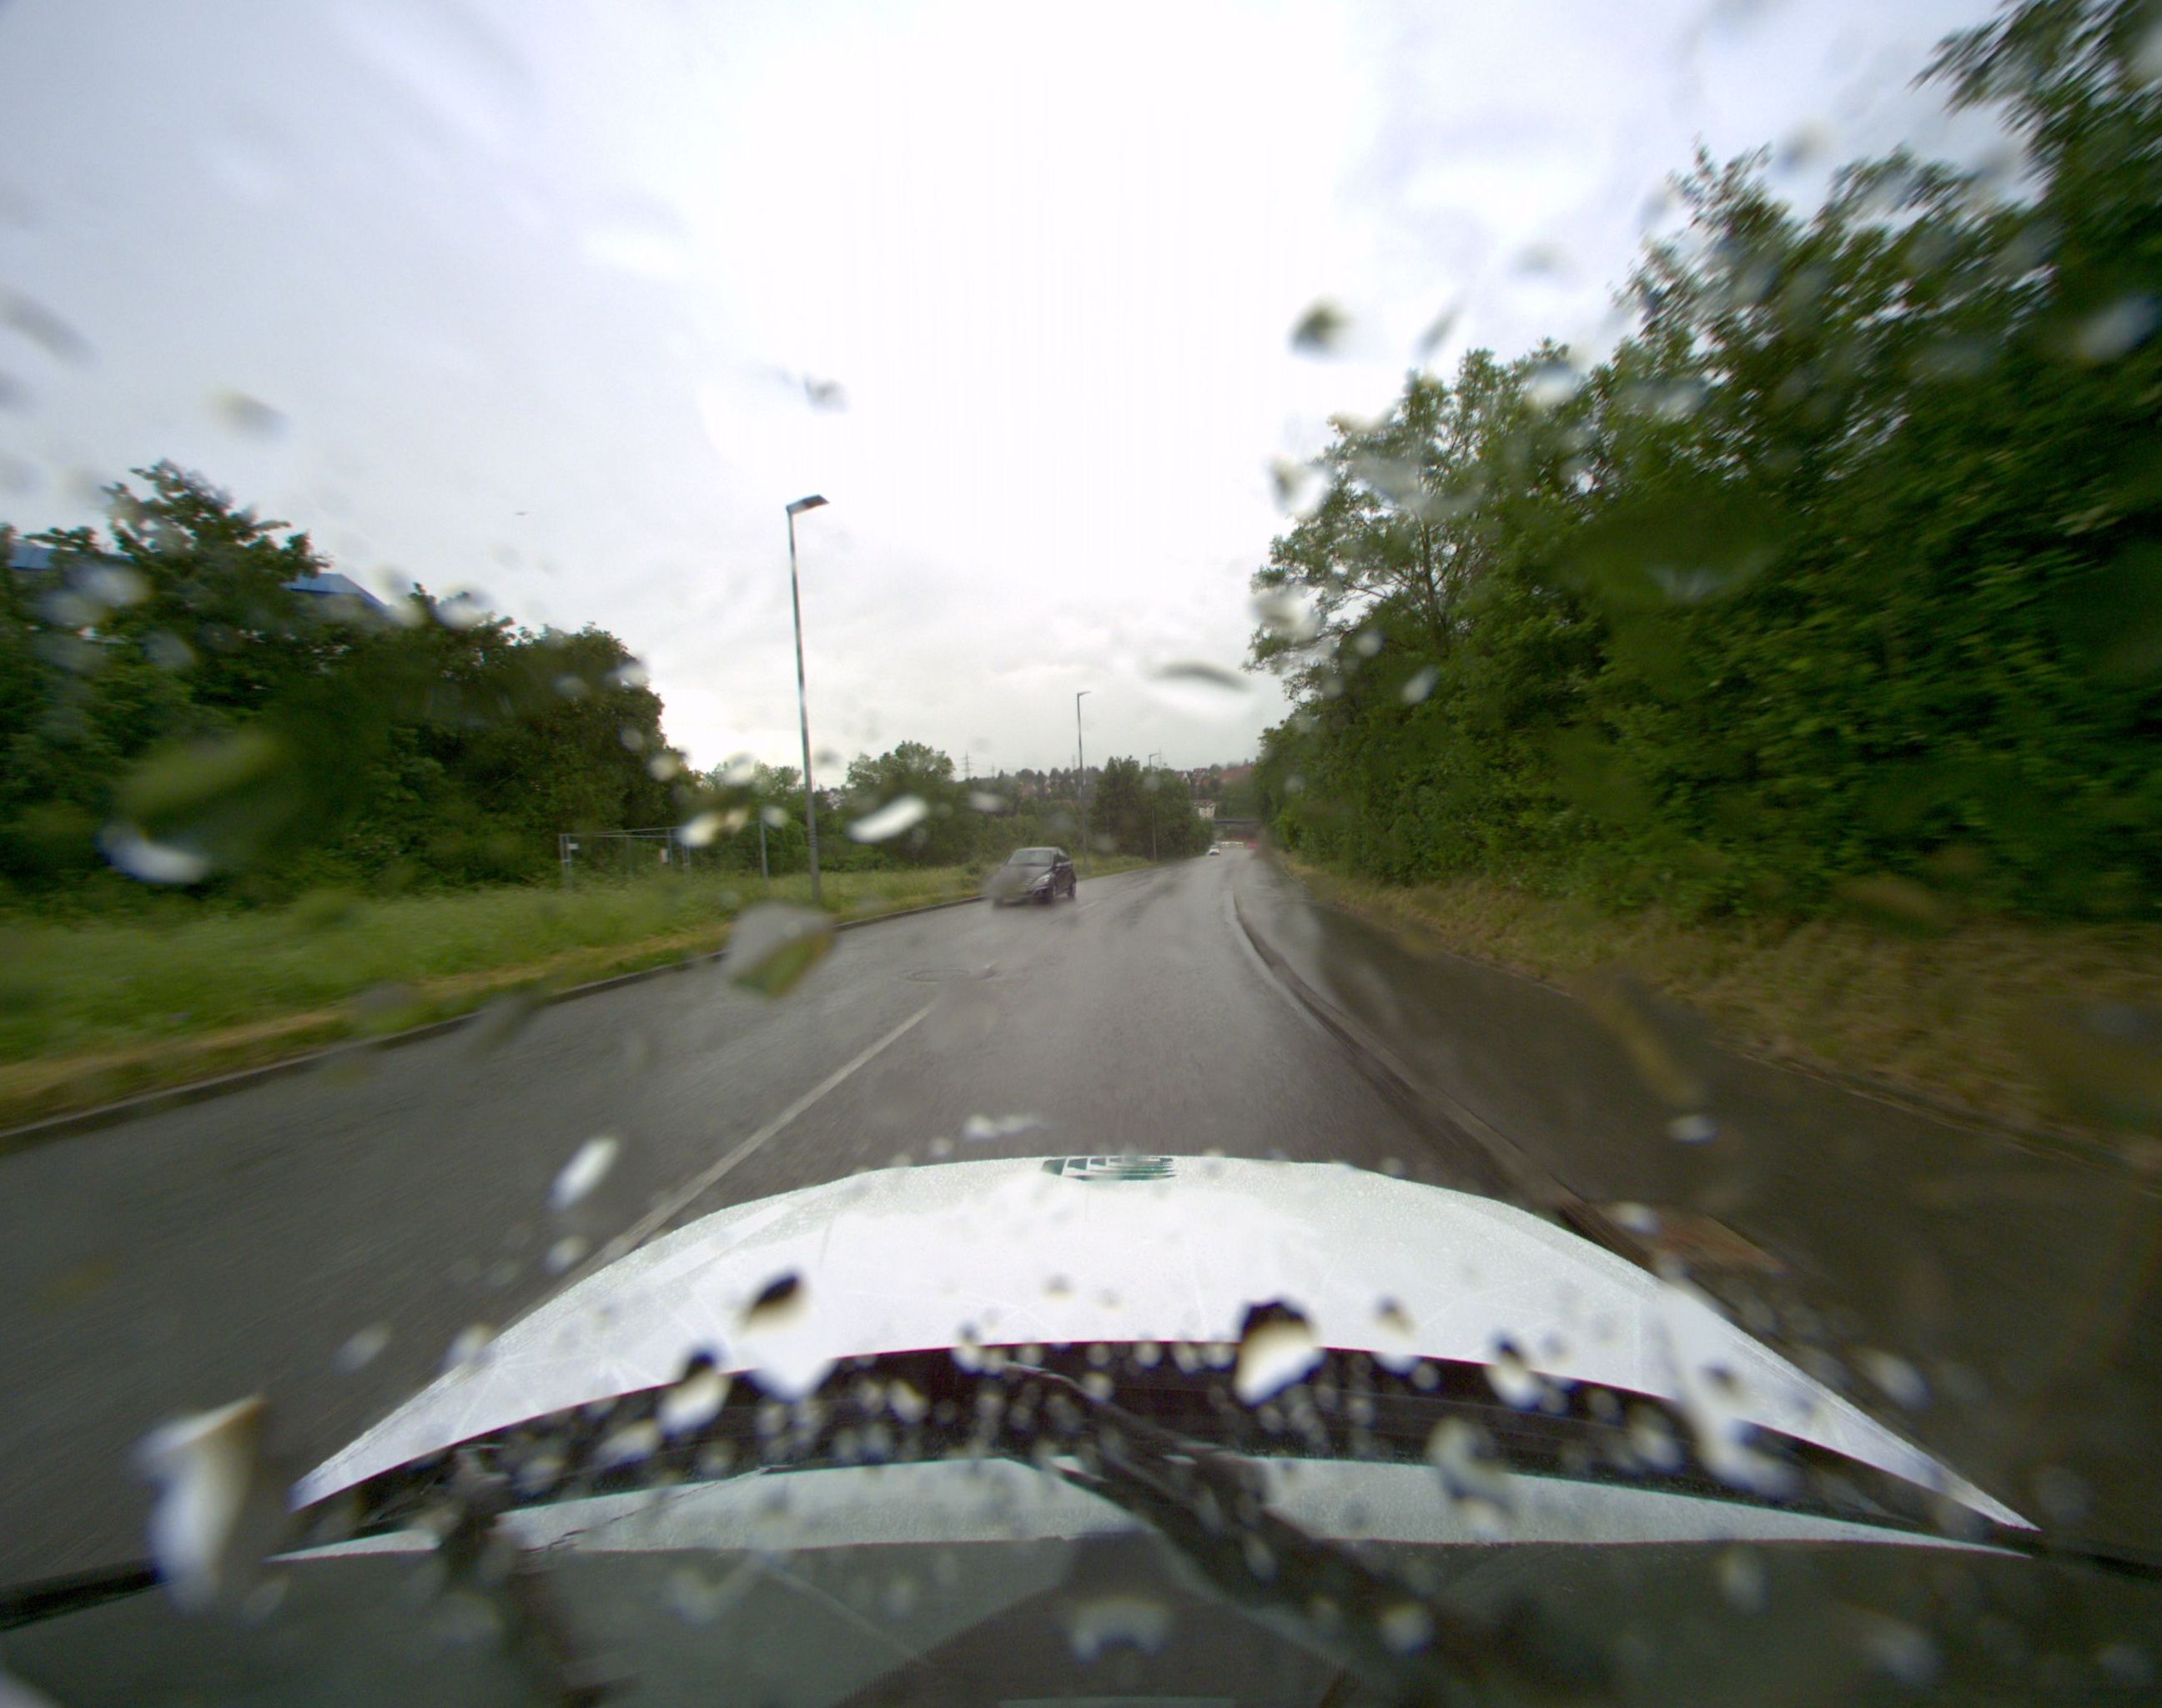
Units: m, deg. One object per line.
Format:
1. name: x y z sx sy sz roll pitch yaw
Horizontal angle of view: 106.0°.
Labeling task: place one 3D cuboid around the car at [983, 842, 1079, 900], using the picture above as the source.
1. car: -1.378 0.457 24.311 1.852 1.552 4.279 -1 0 11

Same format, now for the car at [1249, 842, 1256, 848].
1. car: 46.633 -2.515 221.247 1.756 1.380 4.014 -4 0 13

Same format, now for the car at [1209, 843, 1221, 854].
1. car: 20.001 -0.832 121.428 1.629 1.488 3.463 -4 0 9

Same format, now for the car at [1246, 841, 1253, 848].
1. car: 47.155 -2.651 227.856 1.756 1.563 4.014 -4 0 13
